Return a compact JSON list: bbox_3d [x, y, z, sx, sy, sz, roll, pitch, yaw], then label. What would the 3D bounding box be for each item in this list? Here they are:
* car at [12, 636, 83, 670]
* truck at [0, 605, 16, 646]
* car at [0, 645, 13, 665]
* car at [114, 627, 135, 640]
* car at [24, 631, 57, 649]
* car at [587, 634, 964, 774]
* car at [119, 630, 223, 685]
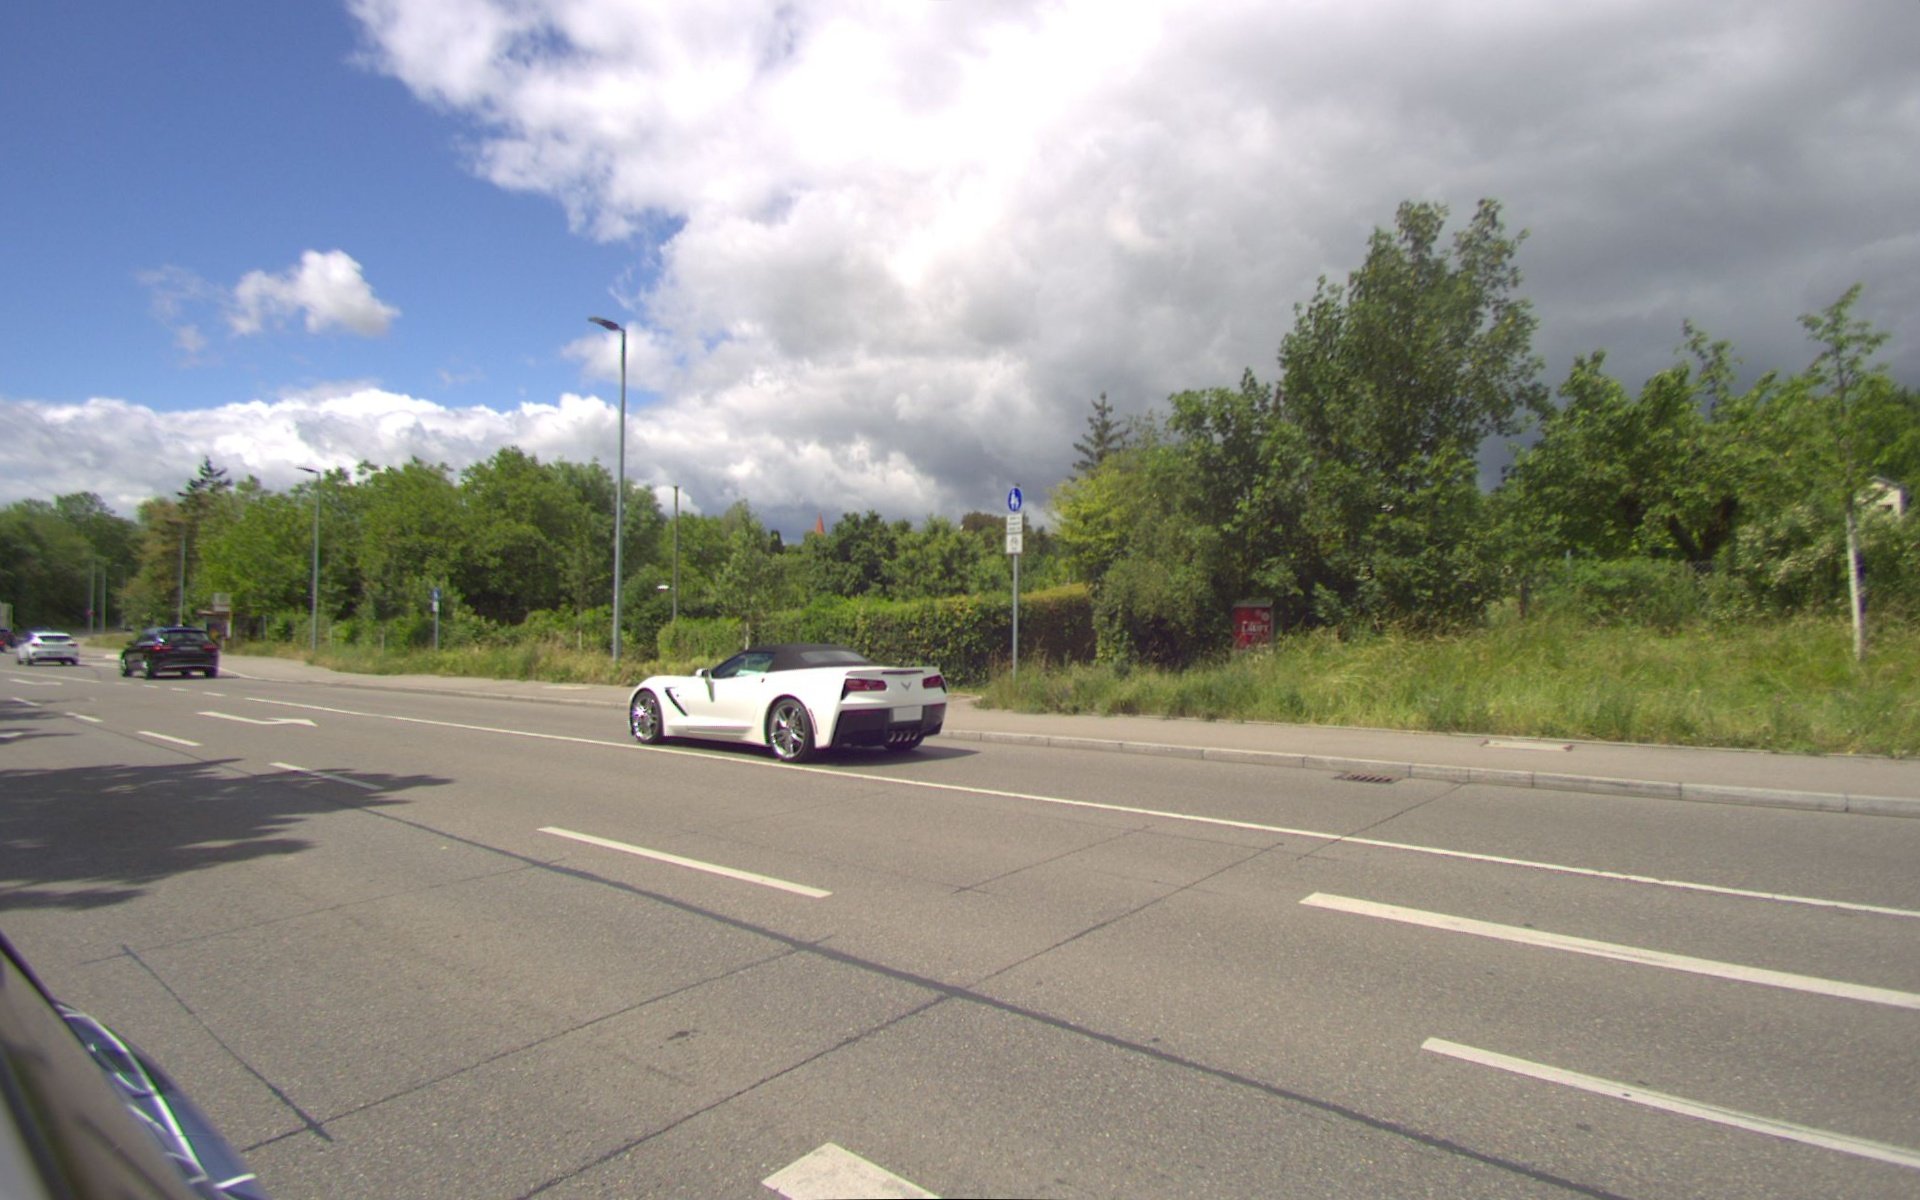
[{"bbox_3d":[-40.340,2.315,44.701,3.896,1.453,1.748,-1,-3,40],"label":"car"},{"bbox_3d":[-91.866,2.363,94.776,3.188,3.890,9.900,3,-2,-33],"label":"truck"},{"bbox_3d":[-75.885,4.304,79.513,4.628,1.569,1.803,-3,-4,43],"label":"car"},{"bbox_3d":[-127.605,5.142,154.616,1.813,1.807,3.914,-2,0,-30],"label":"car"},{"bbox_3d":[-107.147,4.619,117.997,1.966,2.029,4.012,3,-2,-29],"label":"car"},{"bbox_3d":[-2.293,1.055,11.783,4.607,1.301,1.884,-1,-2,42],"label":"car"},{"bbox_3d":[-25.706,1.818,32.913,4.530,1.667,1.802,-2,-3,41],"label":"car"}]
